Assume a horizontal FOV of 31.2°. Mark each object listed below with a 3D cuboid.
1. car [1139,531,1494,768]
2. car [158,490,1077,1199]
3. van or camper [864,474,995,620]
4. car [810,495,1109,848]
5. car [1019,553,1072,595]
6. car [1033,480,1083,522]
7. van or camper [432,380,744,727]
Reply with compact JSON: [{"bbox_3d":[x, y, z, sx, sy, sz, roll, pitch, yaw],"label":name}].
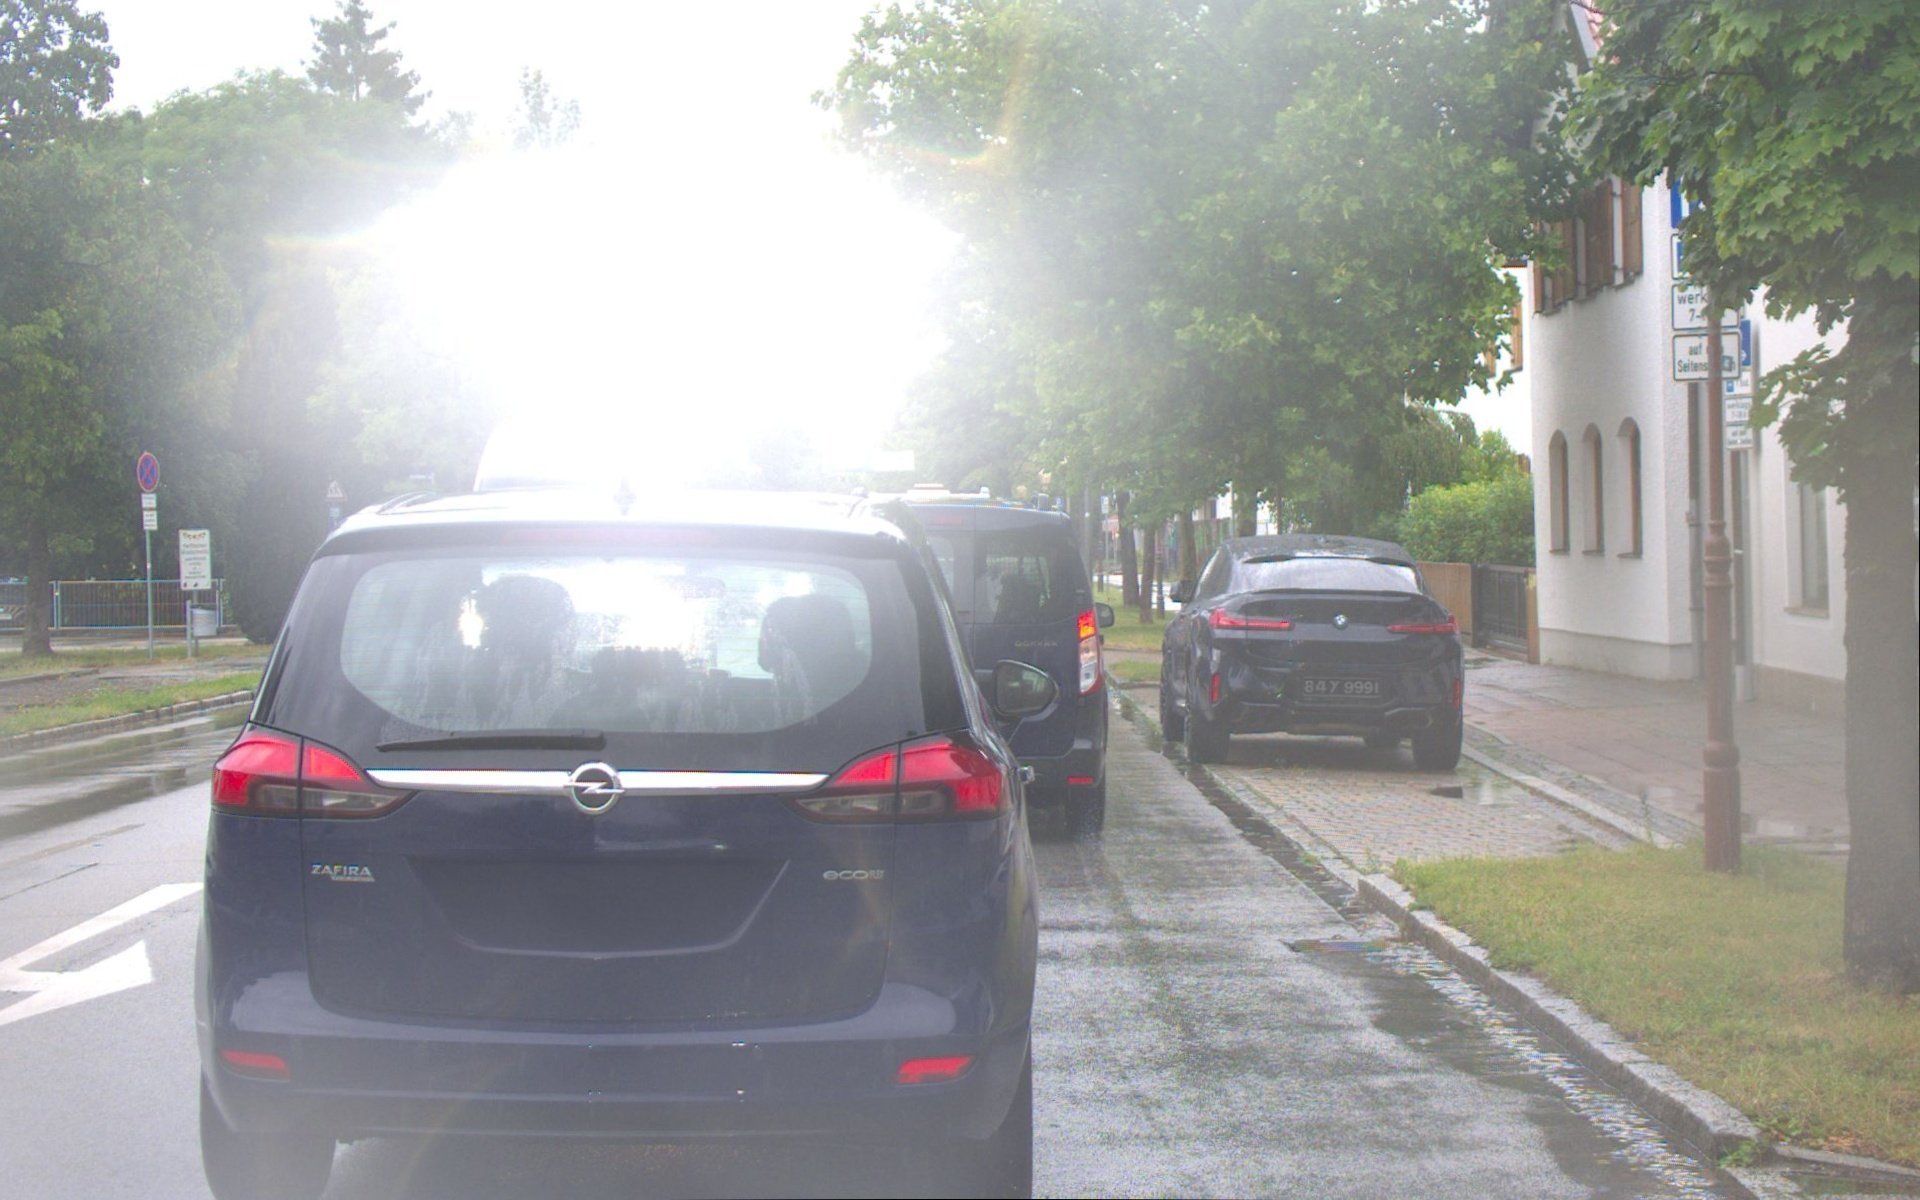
[{"bbox_3d":[2.508,0.317,25.156,2.117,1.576,3.936,1,0,-1],"label":"car"},{"bbox_3d":[-0.671,0.566,8.464,1.768,1.599,3.663,0,1,0],"label":"car"},{"bbox_3d":[-0.584,-1.023,66.167,2.360,2.656,5.372,-1,1,0],"label":"van or camper"},{"bbox_3d":[-0.012,0.340,18.882,1.500,1.770,3.112,0,1,0],"label":"car"},{"bbox_3d":[2.826,-0.865,113.921,1.630,1.373,3.623,0,0,0],"label":"car"},{"bbox_3d":[3.510,-3.539,123.282,1.630,1.373,3.623,-2,1,0],"label":"car"},{"bbox_3d":[-3.131,-0.413,30.264,2.094,2.698,6.269,-1,1,-1],"label":"van or camper"}]
